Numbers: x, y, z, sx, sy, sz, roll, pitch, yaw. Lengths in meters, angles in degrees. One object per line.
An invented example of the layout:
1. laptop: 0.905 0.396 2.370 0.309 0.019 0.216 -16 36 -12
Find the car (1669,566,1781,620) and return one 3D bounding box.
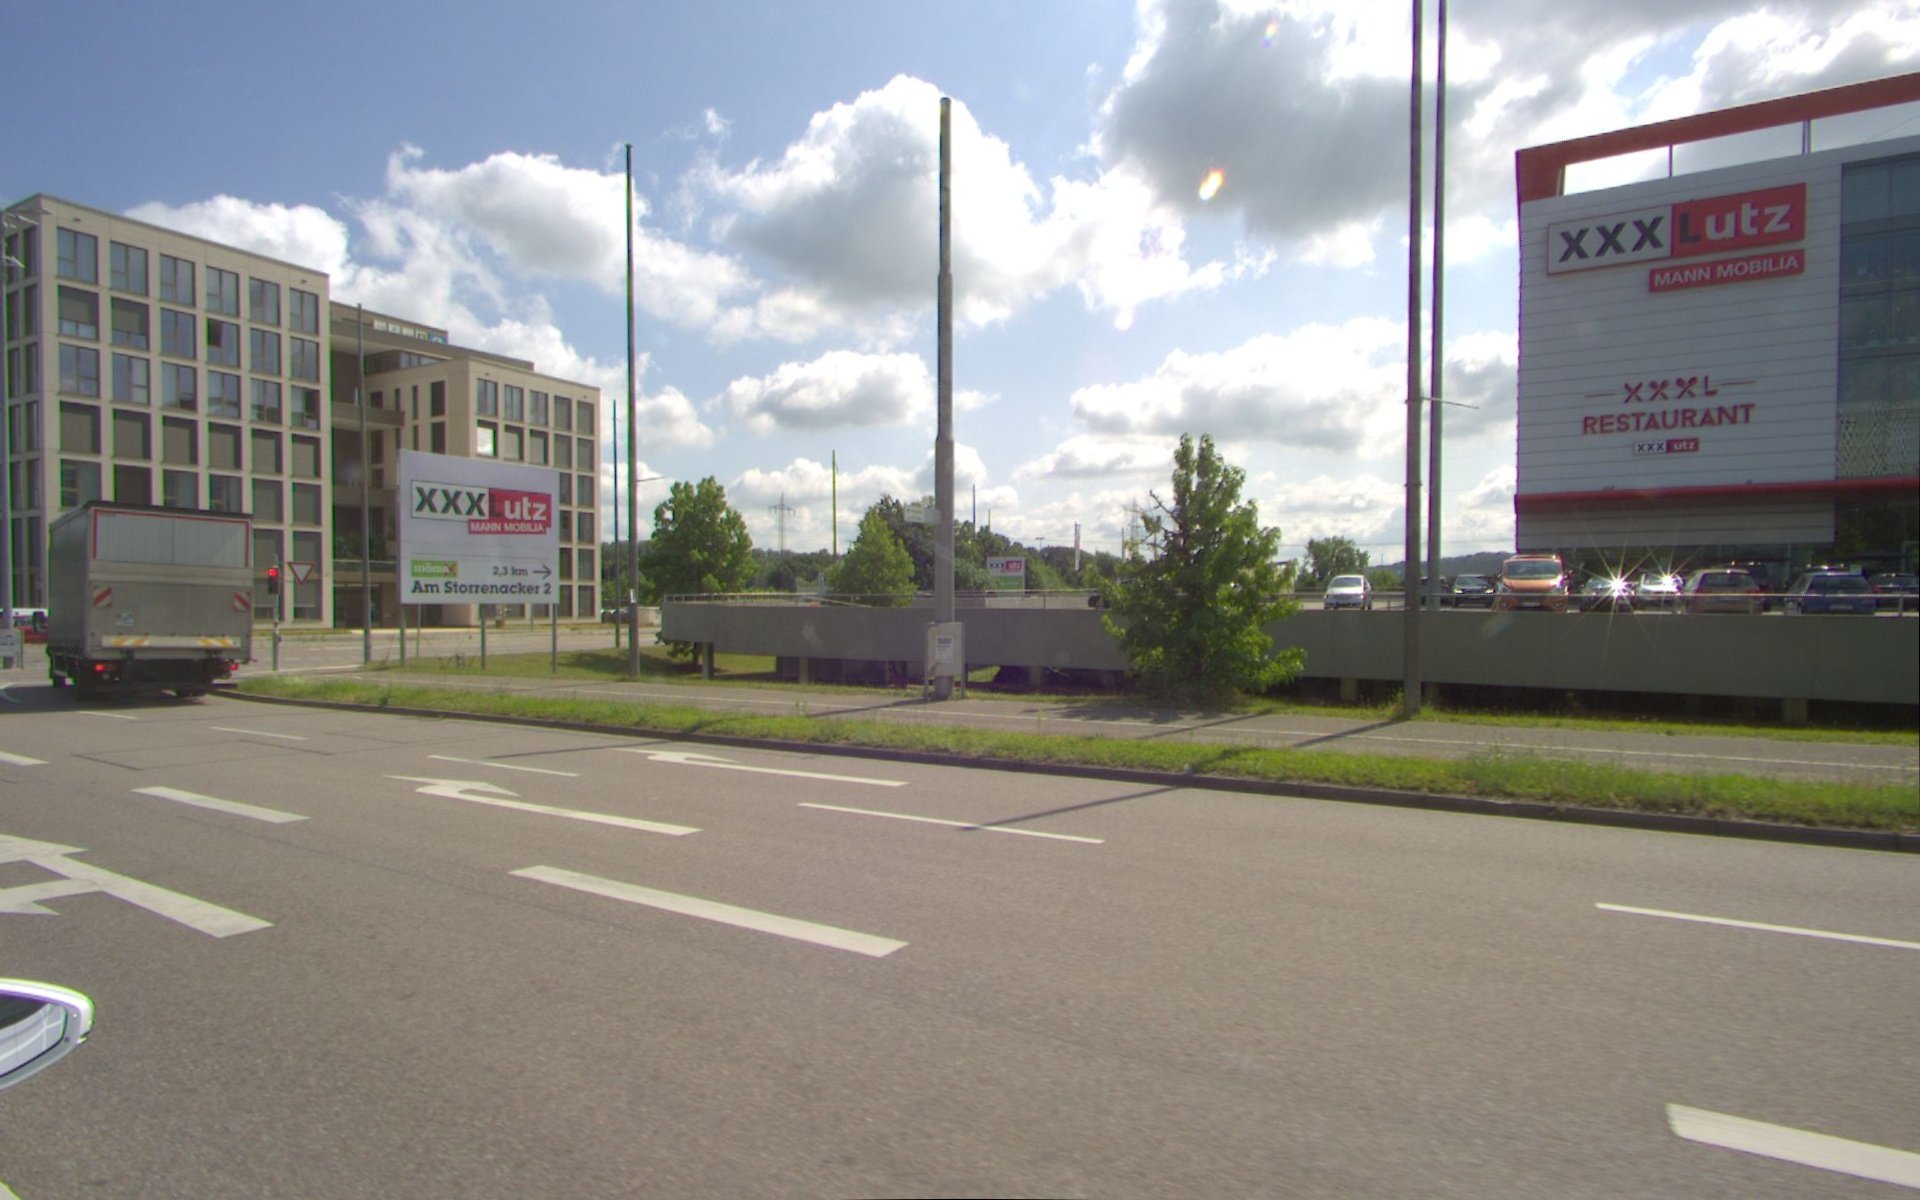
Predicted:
1. car: 22.998 -0.143 30.285 1.956 1.473 4.863 -1 -1 29

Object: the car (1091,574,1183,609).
1. car: 8.145 -0.374 46.047 3.807 1.541 1.869 1 -1 28

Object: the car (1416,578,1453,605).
1. car: 27.192 -0.475 57.324 1.683 1.438 3.893 1 -1 29

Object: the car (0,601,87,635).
1. car: -46.745 0.864 49.541 1.970 1.628 4.977 1 -1 30

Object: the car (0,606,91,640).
1. car: -43.573 1.062 47.009 1.768 1.509 3.888 1 -1 31

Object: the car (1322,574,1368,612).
1. car: 17.571 -0.285 45.623 1.608 1.596 3.897 1 -1 26

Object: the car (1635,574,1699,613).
1. car: 30.521 -0.264 43.318 1.971 1.563 3.981 1 -1 31

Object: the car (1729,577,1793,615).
1. car: 32.987 -0.141 41.327 1.561 1.484 3.520 1 -1 31

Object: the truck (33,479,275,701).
1. truck: -18.088 -0.157 22.184 8.763 3.992 3.112 0 -1 44

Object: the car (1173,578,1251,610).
1. car: 14.259 -0.334 56.688 3.937 1.751 1.957 1 -1 28

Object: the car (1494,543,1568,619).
1. car: 18.749 -0.517 32.910 1.957 2.223 5.156 -1 -2 30

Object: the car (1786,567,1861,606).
1. car: 34.690 -0.509 40.332 1.611 1.461 3.891 1 -1 31

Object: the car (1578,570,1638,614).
1. car: 25.309 -0.261 39.181 1.609 1.596 3.894 1 -1 28

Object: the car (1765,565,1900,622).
1. car: 25.409 -0.118 29.364 1.956 1.503 4.863 -1 -1 29

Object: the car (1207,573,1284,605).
1. car: 16.506 -0.637 57.941 3.937 1.751 1.993 1 0 28

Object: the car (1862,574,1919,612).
1. car: 37.060 -0.266 39.517 1.529 1.388 3.432 1 -1 31

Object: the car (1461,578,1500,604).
1. car: 26.699 -0.426 51.320 1.669 1.199 3.893 1 -1 29

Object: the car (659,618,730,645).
1. car: -15.263 1.778 57.629 1.671 1.485 3.844 1 -1 32
